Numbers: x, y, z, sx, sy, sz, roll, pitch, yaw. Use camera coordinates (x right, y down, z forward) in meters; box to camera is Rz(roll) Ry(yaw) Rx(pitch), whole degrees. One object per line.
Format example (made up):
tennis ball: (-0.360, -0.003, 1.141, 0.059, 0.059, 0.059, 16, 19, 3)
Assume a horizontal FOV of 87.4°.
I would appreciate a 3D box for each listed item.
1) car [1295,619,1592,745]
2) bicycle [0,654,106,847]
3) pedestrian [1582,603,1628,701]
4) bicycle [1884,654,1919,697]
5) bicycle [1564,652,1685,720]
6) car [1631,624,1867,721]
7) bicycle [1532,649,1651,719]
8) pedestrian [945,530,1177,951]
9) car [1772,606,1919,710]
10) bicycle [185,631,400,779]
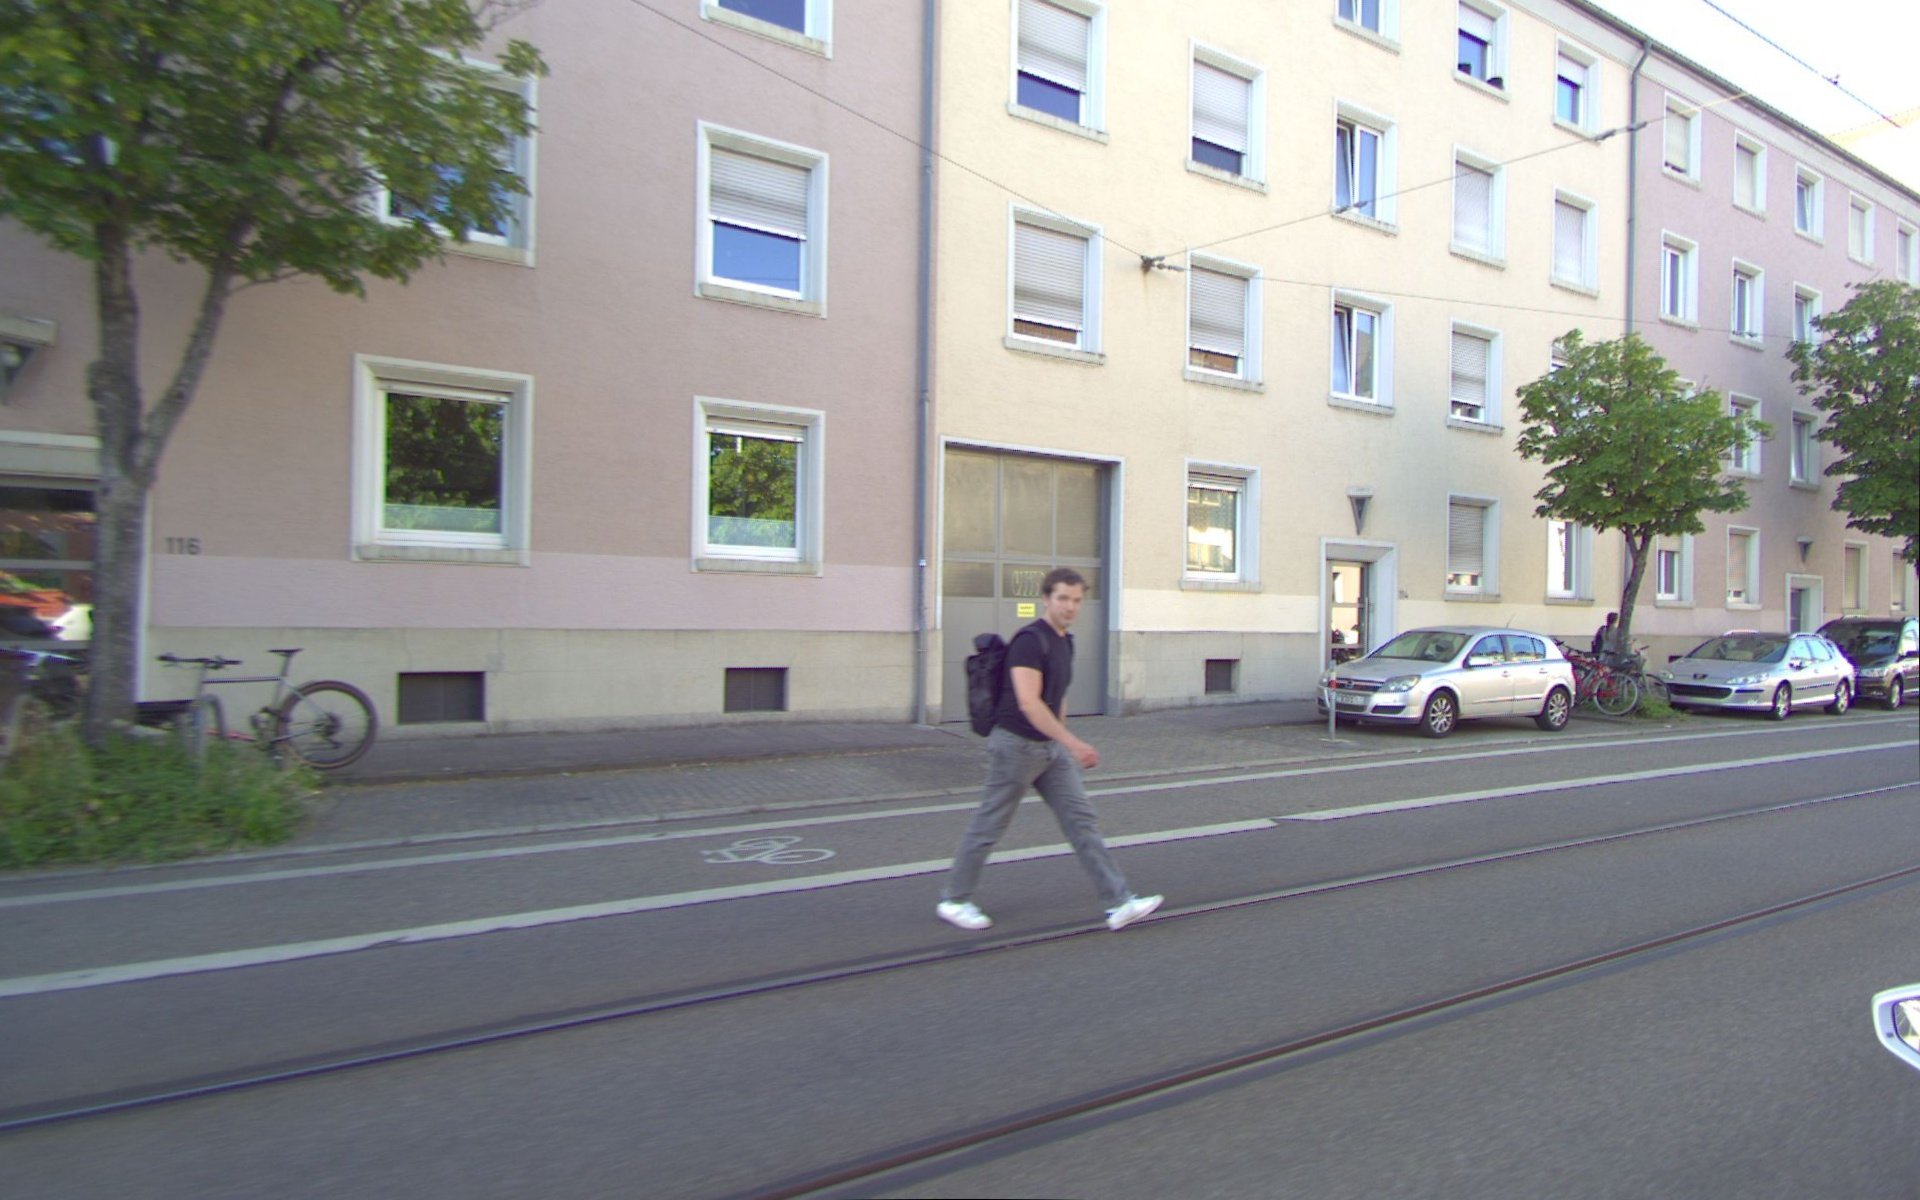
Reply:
car: (6.948, 1.077, 14.346, 4.141, 1.528, 1.800, 1, 0, -30)
bicycle: (-6.409, 0.956, 6.842, 0.470, 1.060, 1.917, 1, 0, -28)
pedestrian: (12.448, 0.993, 19.383, 0.536, 1.850, 0.534, 1, 0, -30)
bicycle: (22.392, 1.774, 23.090, 0.511, 0.950, 1.622, 1, 0, -33)
bicycle: (11.321, 1.441, 17.155, 0.472, 1.015, 1.652, 1, 0, -40)
car: (14.516, 1.257, 18.421, 4.625, 1.528, 1.800, 1, 0, -30)
bicycle: (10.375, 1.359, 16.567, 0.470, 1.015, 1.661, 1, 0, -26)
pedestrian: (0.488, 0.613, 4.856, 0.839, 1.800, 0.732, -2, -2, 41)
car: (19.282, 1.172, 21.284, 4.282, 1.969, 1.800, 1, 0, -30)
bicycle: (-5.387, 0.824, 8.188, 1.423, 1.116, 0.327, 1, 0, -30)
